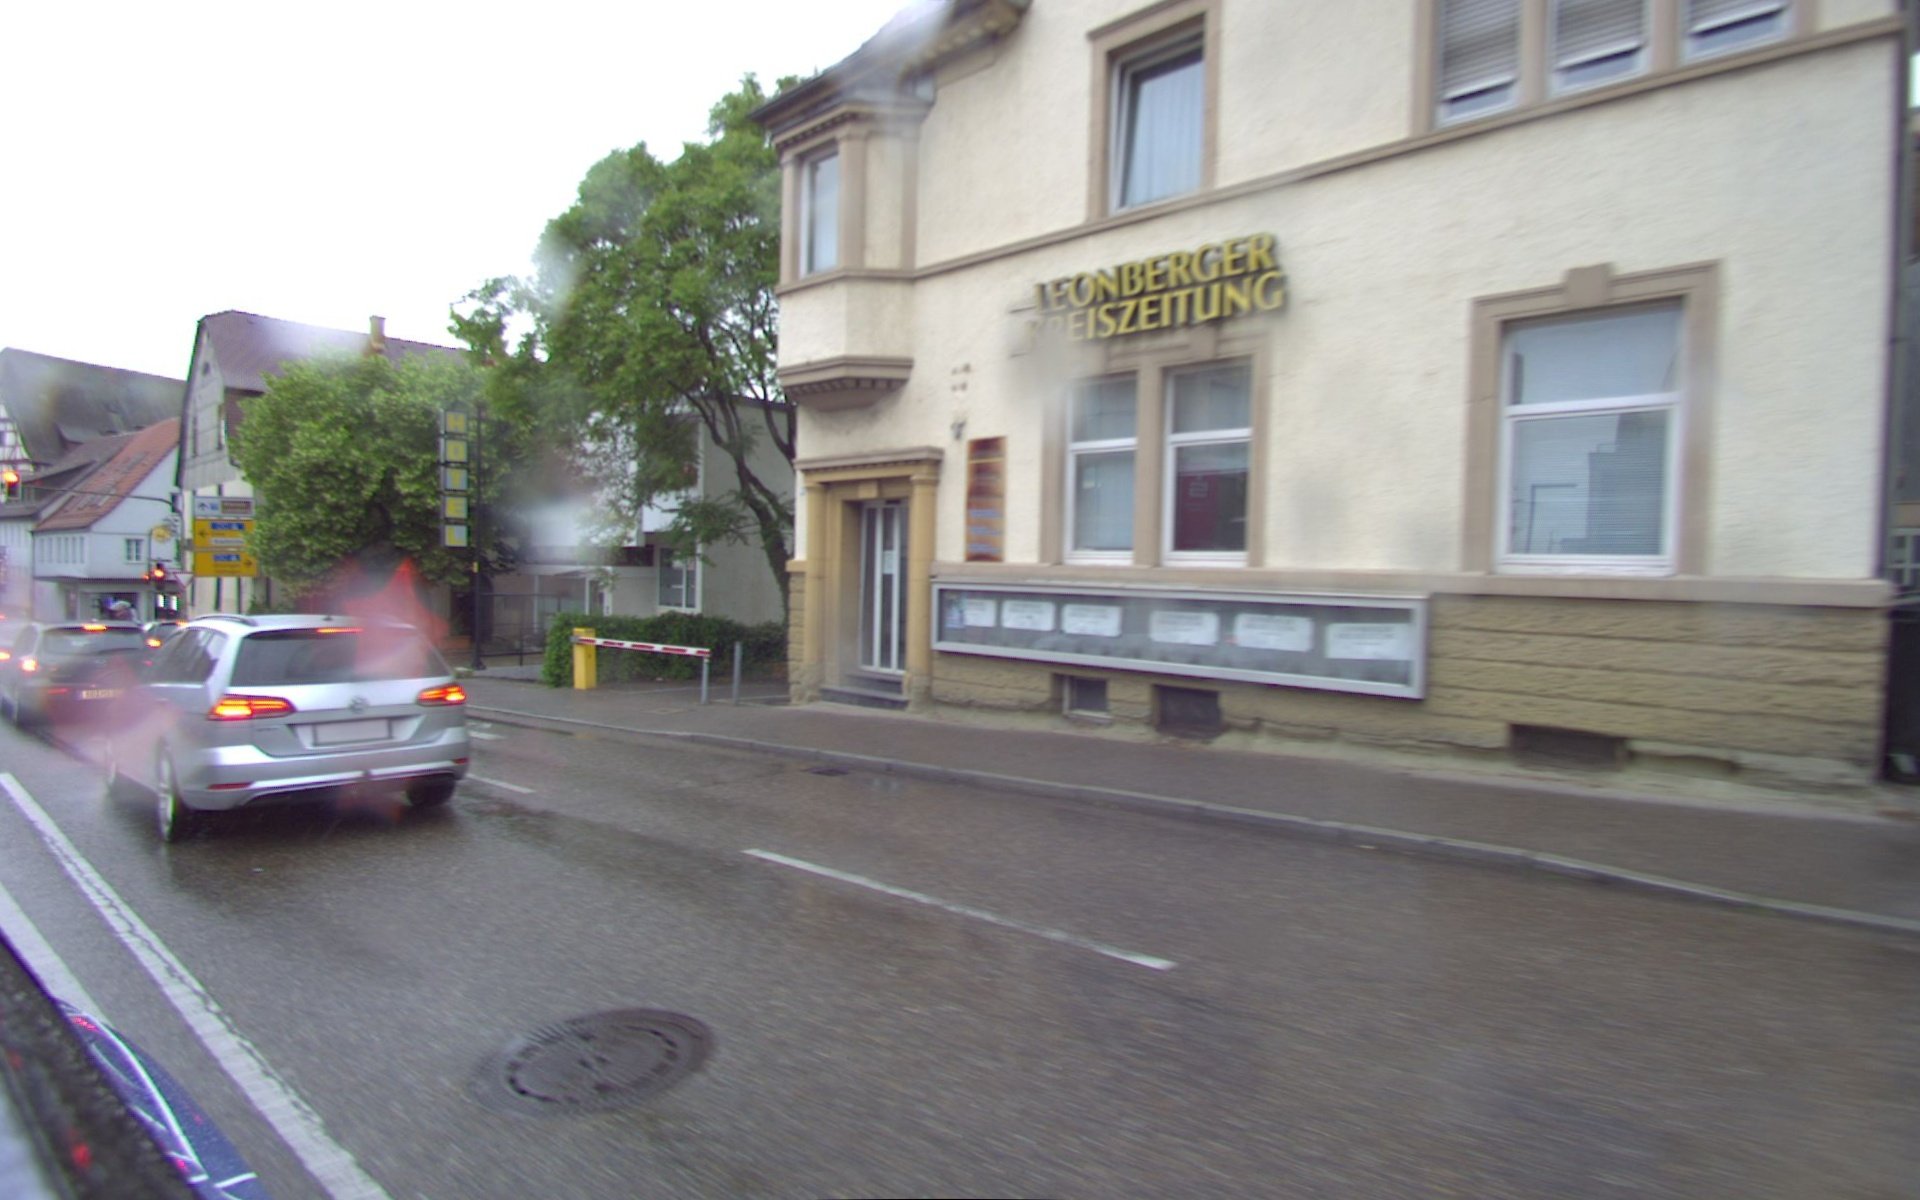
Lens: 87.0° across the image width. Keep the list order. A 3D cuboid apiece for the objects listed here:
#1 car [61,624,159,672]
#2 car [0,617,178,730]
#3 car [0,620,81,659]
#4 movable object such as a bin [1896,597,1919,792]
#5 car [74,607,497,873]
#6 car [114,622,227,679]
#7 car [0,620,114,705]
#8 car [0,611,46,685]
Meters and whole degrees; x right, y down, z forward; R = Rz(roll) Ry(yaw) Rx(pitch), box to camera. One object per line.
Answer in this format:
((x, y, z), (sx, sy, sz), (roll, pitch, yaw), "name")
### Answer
((-25.779, 1.402, 30.663), (4.033, 1.303, 1.828), (-1, -1, 43), "car")
((-13.633, 1.024, 15.581), (4.689, 1.450, 1.779), (-1, -1, 43), "car")
((-40.267, 1.671, 42.497), (4.959, 1.557, 2.001), (-1, -1, -45), "car")
((7.069, 0.612, 6.826), (1.050, 1.276, 1.266), (-1, -1, 42), "movable object such as a bin")
((-5.469, 0.822, 7.898), (4.690, 1.450, 1.779), (-1, -1, 44), "car")
((-20.965, 1.281, 26.829), (4.059, 1.364, 1.719), (-1, -1, 42), "car")
((-18.079, 1.138, 19.628), (5.015, 1.451, 1.920), (-1, -1, 42), "car")
((-23.527, 1.134, 24.446), (4.220, 1.676, 1.828), (-1, -1, 43), "car")
